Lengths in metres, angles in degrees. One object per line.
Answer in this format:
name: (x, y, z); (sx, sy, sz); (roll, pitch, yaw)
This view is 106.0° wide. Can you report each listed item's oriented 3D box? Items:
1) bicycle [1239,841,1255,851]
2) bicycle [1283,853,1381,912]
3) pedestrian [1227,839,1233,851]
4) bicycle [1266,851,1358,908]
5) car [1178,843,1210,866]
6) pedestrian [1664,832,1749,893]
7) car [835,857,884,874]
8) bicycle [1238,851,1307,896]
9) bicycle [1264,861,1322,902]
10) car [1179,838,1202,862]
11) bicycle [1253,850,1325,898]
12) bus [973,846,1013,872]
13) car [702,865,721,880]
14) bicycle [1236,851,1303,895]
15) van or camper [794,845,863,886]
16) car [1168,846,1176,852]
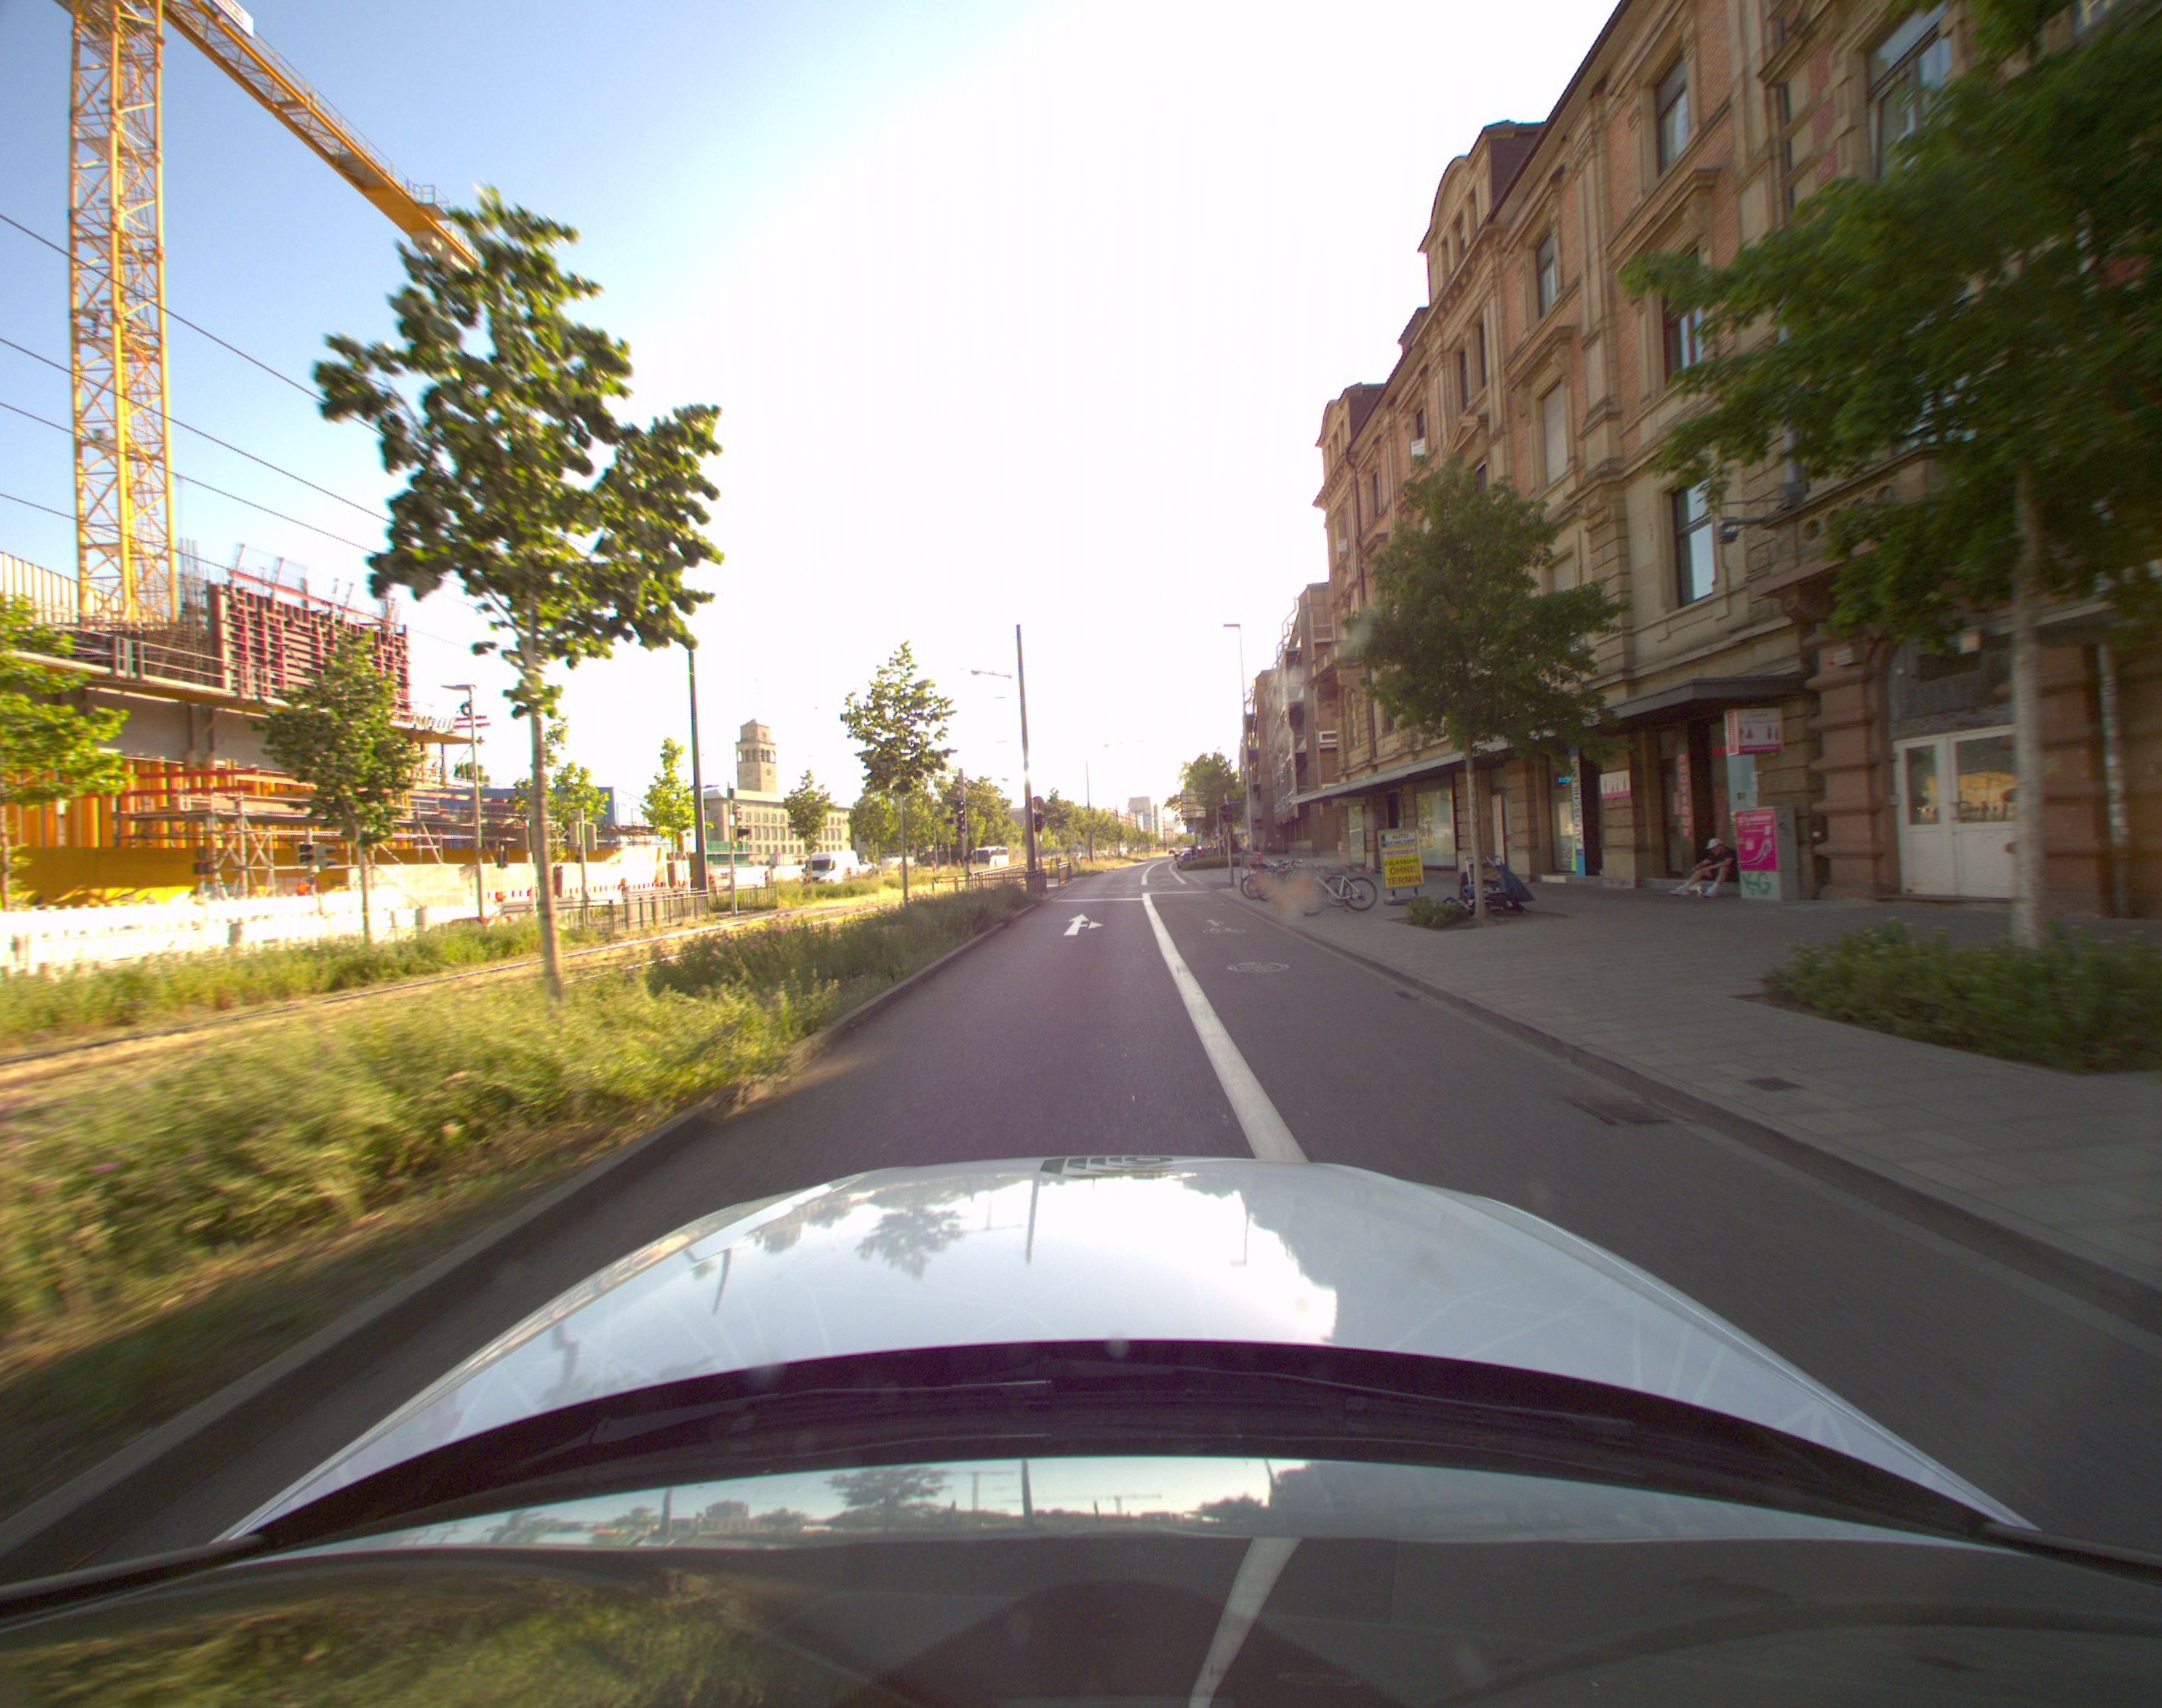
bicycle: (20.797, -1.028, 101.950); (1.892, 1.093, 0.392); (-4, 0, 2)
bicycle: (5.194, 0.588, 16.915); (1.795, 1.047, 0.567); (-5, 0, 6)
pedestrian: (22.869, -1.378, 124.811); (0.784, 1.648, 1.139); (-4, 0, 9)
bicycle: (5.205, 0.565, 18.427); (1.834, 1.104, 0.567); (-5, 0, 6)
car: (8.923, 0.042, 64.442); (1.924, 1.598, 4.701); (-5, 0, 2)
pedestrian: (10.624, 0.136, 13.857); (0.810, 0.962, 0.805); (-3, 0, 3)
car: (-26.552, 1.380, 97.686); (5.199, 1.717, 2.129); (-3, 0, 7)
bicycle: (5.351, 0.542, 22.806); (1.744, 1.104, 0.508); (-5, 0, 6)
bicycle: (5.220, 0.672, 20.080); (1.268, 0.877, 0.508); (-5, 0, 7)
car: (9.660, -0.343, 72.106); (1.726, 1.919, 4.401); (-5, 0, 6)
bicycle: (5.472, 0.521, 21.519); (1.712, 1.104, 0.508); (-5, 0, 6)
bus: (-13.522, 0.671, 126.175); (2.783, 3.594, 12.729); (-3, 0, 9)
car: (-44.745, 2.204, 98.644); (1.411, 1.636, 4.201); (-3, 0, -16)
bicycle: (5.395, 0.548, 23.396); (1.744, 1.104, 0.508); (-5, 0, 6)
van or camper: (-17.384, 0.715, 56.640); (2.214, 2.509, 7.203); (-5, 1, 1)
car: (23.021, -1.225, 206.112); (1.766, 1.428, 4.010); (-2, 0, 9)
